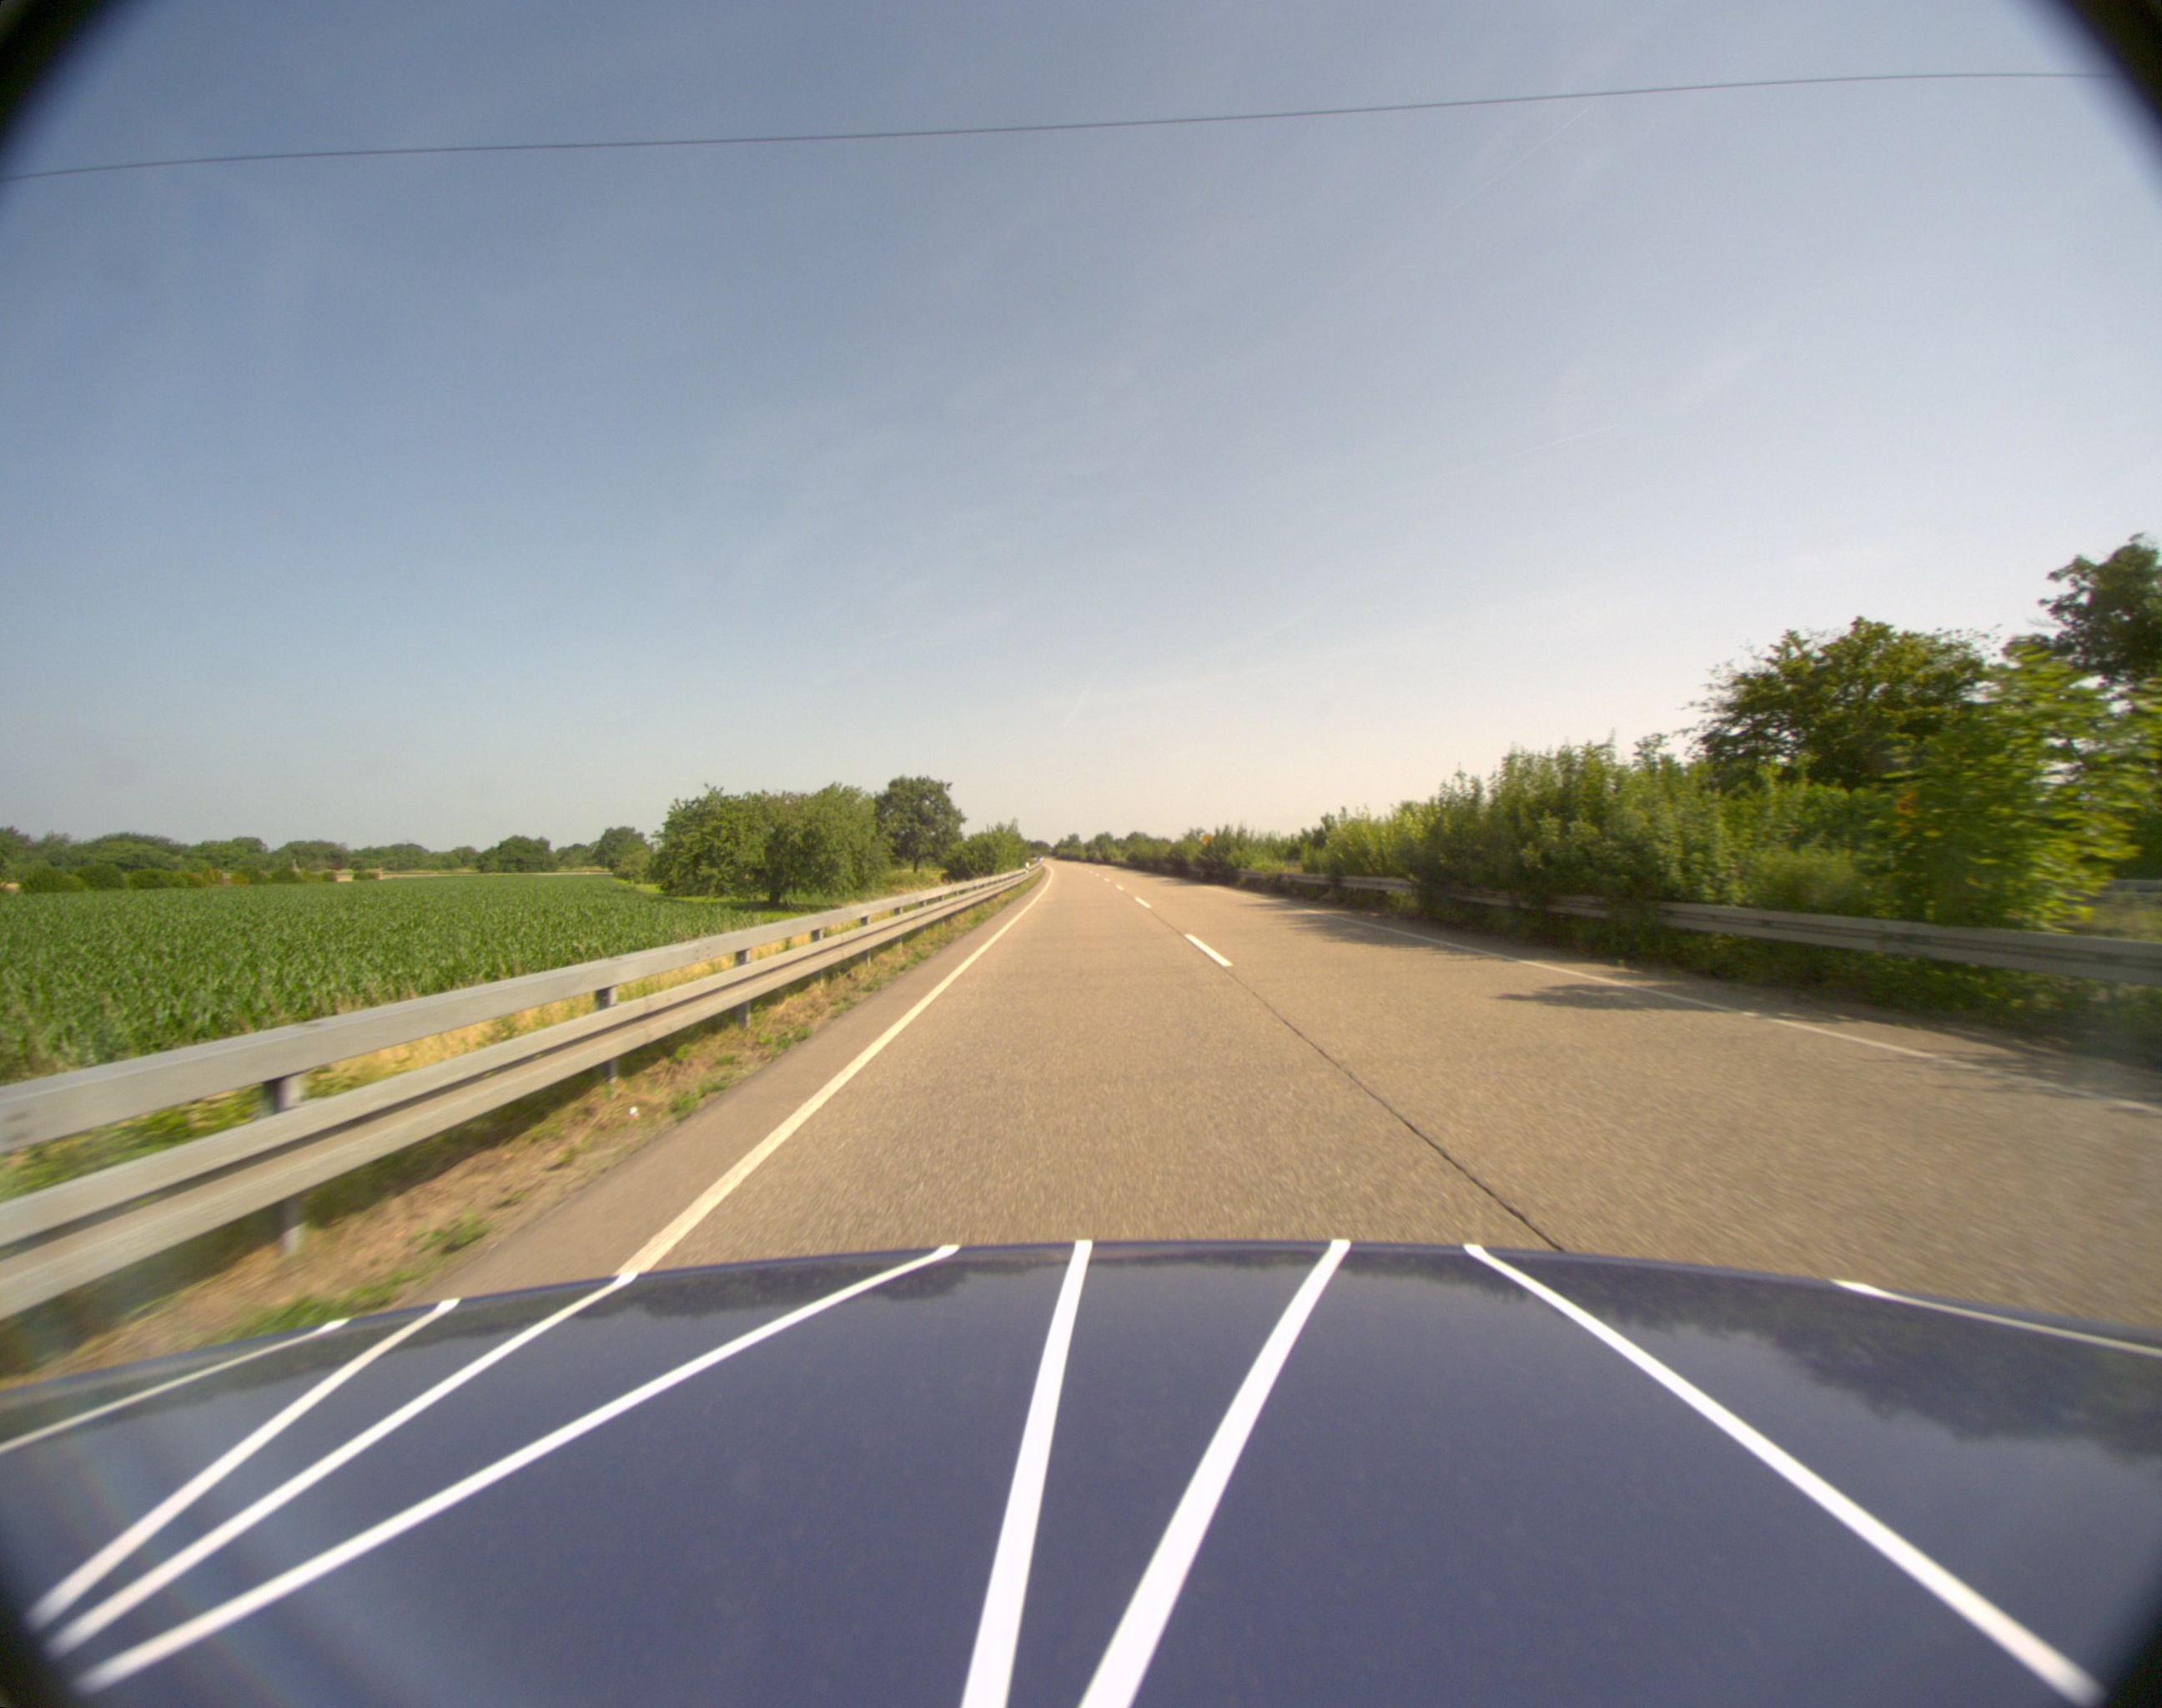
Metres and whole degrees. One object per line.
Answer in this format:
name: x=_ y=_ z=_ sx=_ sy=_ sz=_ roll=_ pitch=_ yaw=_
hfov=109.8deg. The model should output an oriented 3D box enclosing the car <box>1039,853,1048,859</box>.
car: x=-9.623 y=0.542 z=194.564 sx=1.704 sy=1.474 sz=3.596 roll=-2 pitch=-1 yaw=-15
